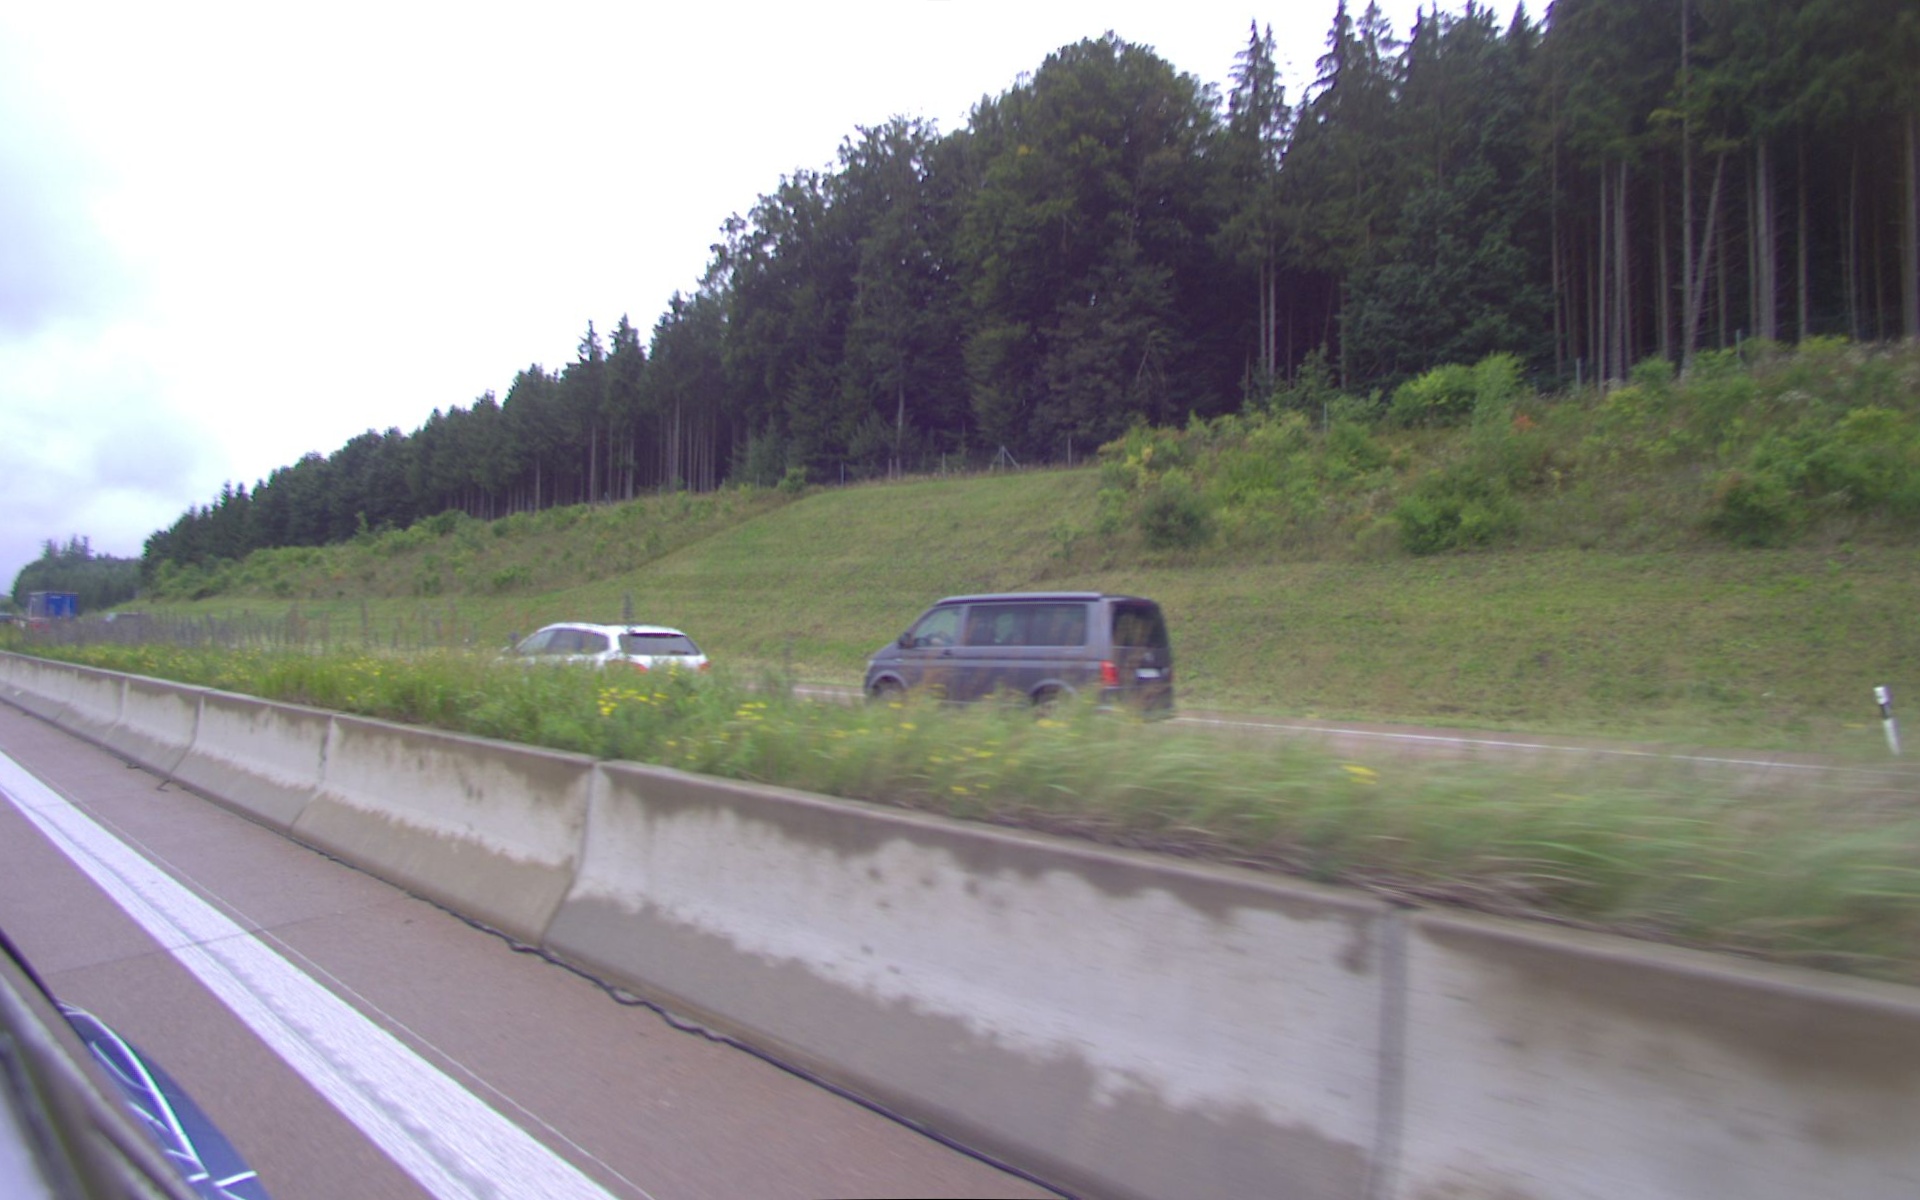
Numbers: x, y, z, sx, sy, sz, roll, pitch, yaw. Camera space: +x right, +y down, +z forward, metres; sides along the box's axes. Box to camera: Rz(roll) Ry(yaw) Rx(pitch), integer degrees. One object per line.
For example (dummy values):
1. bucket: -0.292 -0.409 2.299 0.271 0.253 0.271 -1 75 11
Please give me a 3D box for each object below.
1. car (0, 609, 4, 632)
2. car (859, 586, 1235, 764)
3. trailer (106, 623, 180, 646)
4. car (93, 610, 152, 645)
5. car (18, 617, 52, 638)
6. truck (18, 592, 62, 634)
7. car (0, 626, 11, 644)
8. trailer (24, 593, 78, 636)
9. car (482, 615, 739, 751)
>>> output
1. car: -76.679 1.623 79.568 4.939 1.793 1.870 0 0 43
2. car: 1.068 0.911 14.279 5.068 2.073 2.017 0 -2 41
3. trailer: -47.693 1.982 58.998 6.848 1.005 2.182 0 4 41
4. car: -52.007 1.659 62.789 5.672 2.029 1.973 0 0 41
5. car: -75.962 2.248 83.086 4.117 1.540 1.707 0 0 43
6. truck: -102.816 1.442 113.035 7.402 4.423 2.893 -1 1 42
7. car: -99.181 3.600 104.037 5.094 1.780 1.972 -2 -2 43
8. trailer: -96.421 1.450 107.235 13.577 4.372 2.888 0 1 42
9. car: -5.093 1.059 14.529 3.844 1.615 1.824 0 0 41
